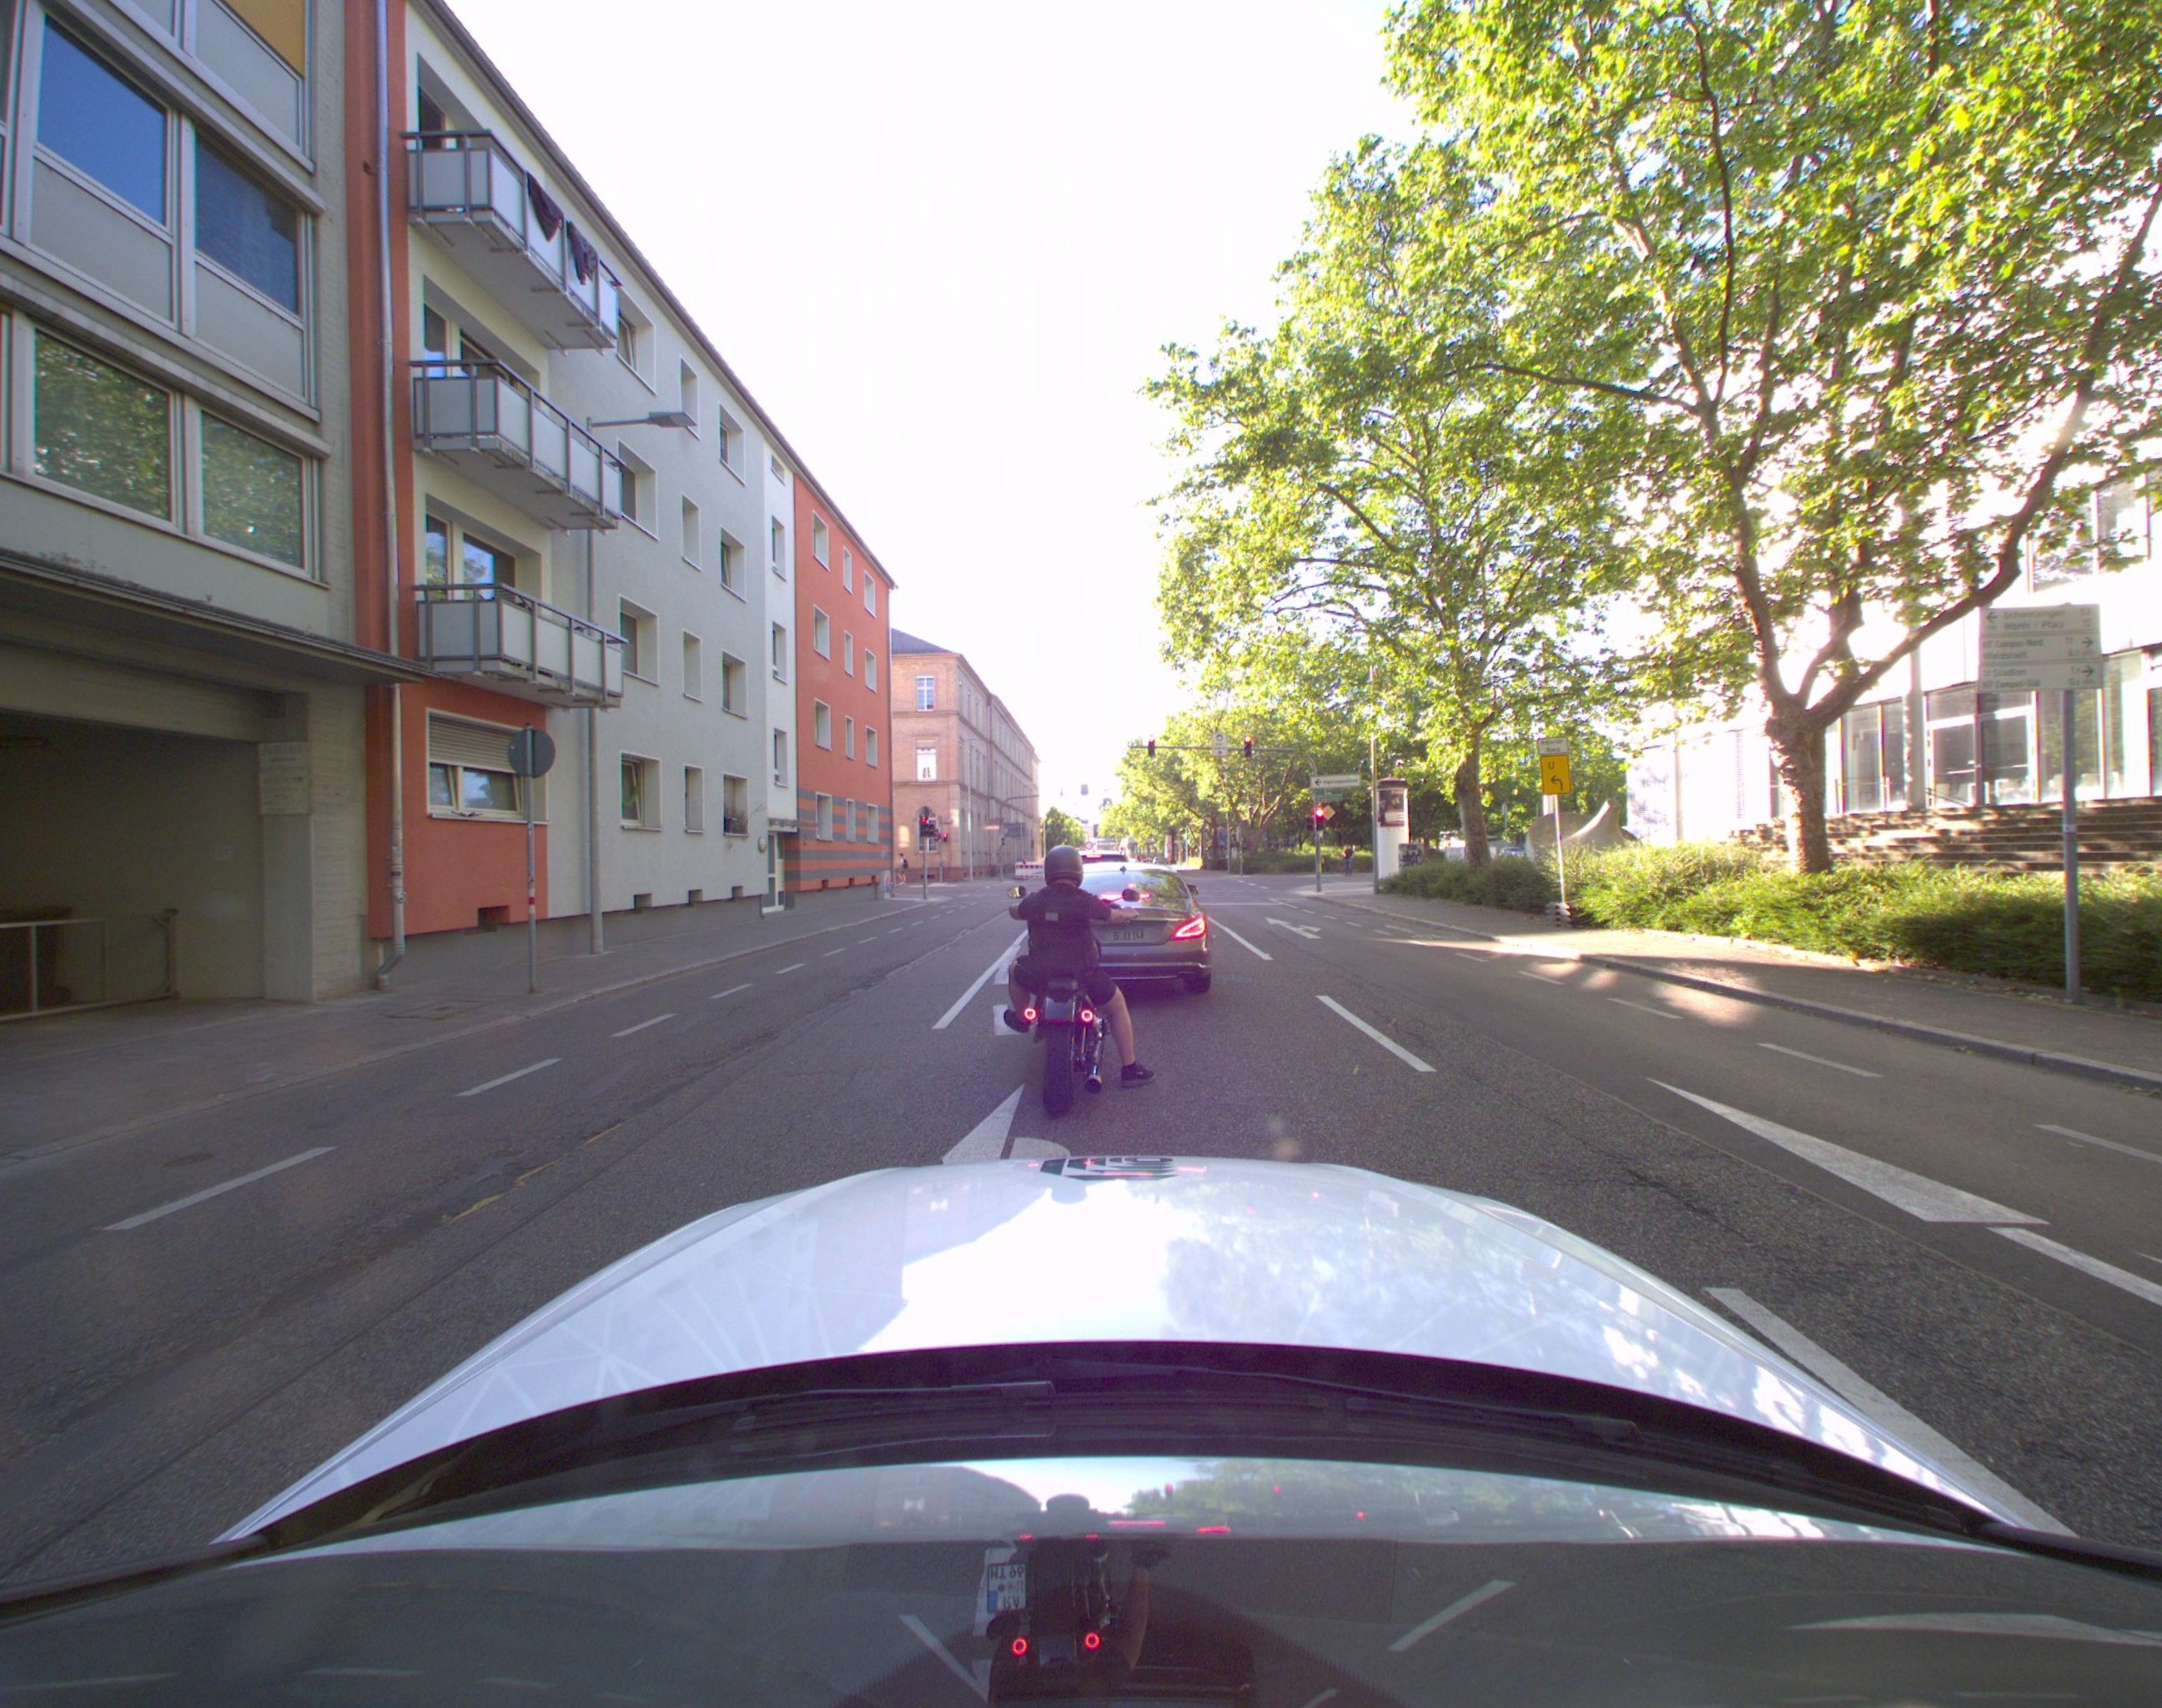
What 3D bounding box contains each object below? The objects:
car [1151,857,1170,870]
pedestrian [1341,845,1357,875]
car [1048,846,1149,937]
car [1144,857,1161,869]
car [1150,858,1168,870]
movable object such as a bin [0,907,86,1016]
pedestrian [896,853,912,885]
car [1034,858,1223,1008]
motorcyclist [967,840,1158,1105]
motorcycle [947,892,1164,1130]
[{"bbox_3d":[7.869,0.964,80.627,1.625,1.259,3.717,0,-1,2],"label":"car"},{"bbox_3d":[16.162,0.346,49.148,0.728,1.778,0.734,-1,-1,32],"label":"pedestrian"},{"bbox_3d":[0.383,0.712,17.069,1.856,1.678,4.001,0,-1,2],"label":"car"},{"bbox_3d":[8.014,1.006,91.450,1.625,1.259,3.717,0,-1,2],"label":"car"},{"bbox_3d":[8.093,1.044,85.100,1.625,1.259,3.717,0,-1,2],"label":"car"},{"bbox_3d":[-11.283,1.121,8.649,0.533,1.079,0.723,0,-1,3],"label":"movable object such as a bin"},{"bbox_3d":[-10.265,0.885,47.217,0.735,1.820,0.644,0,-1,1],"label":"pedestrian"},{"bbox_3d":[0.522,0.781,9.781,1.815,1.437,3.807,0,-1,2],"label":"car"},{"bbox_3d":[-0.068,0.706,5.405,1.093,1.566,1.074,-1,-1,8],"label":"motorcyclist"},{"bbox_3d":[-0.040,0.914,5.624,1.111,1.207,2.217,-1,-1,8],"label":"motorcycle"}]
